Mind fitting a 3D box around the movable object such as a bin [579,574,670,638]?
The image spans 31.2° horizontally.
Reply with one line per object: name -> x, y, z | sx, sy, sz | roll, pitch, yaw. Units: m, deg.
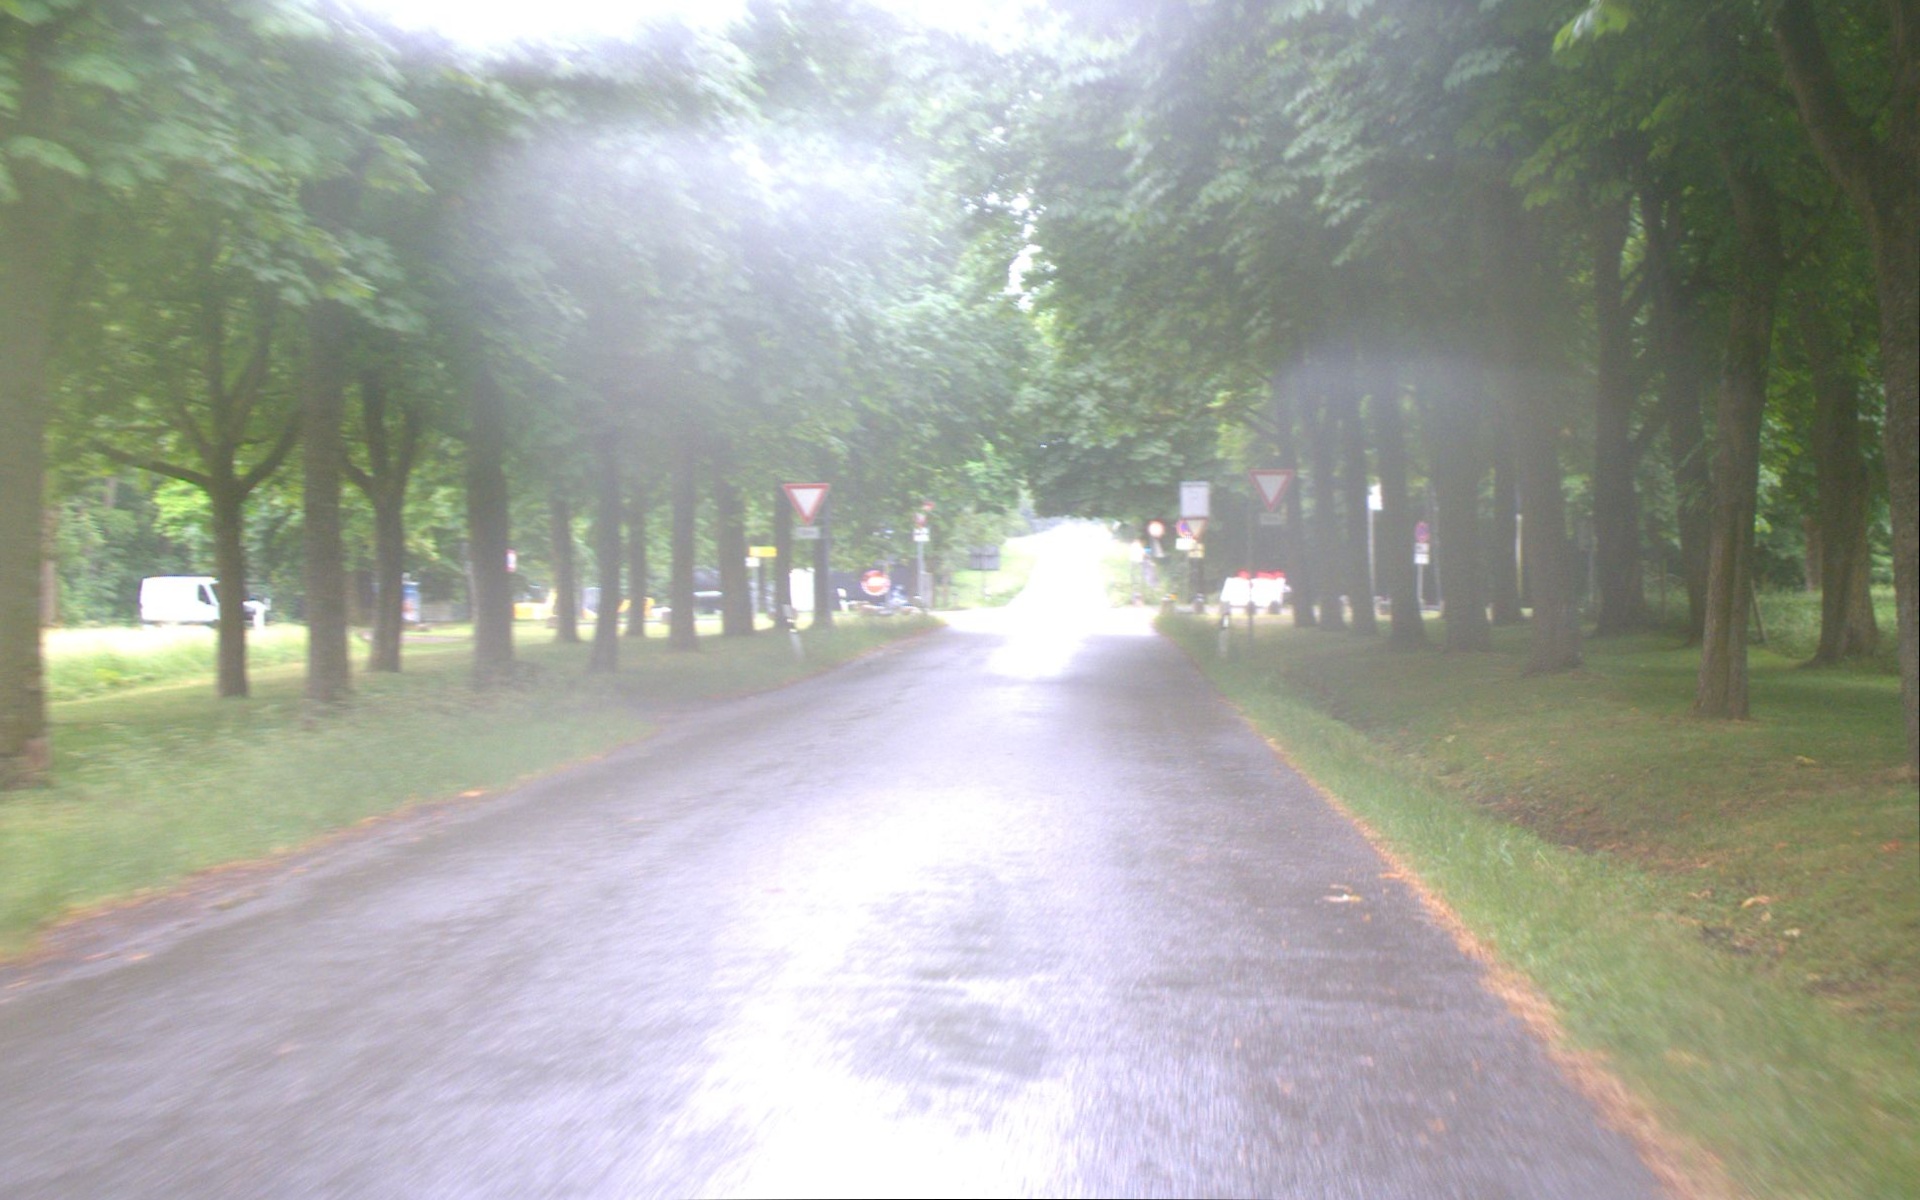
movable object such as a bin -> -17.821, 0.327, 182.468 | 4.580, 3.283, 3.667 | -1, 0, -8

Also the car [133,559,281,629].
car -> -27.772, -0.191, 126.675 | 5.979, 2.399, 2.386 | -2, -2, 44
